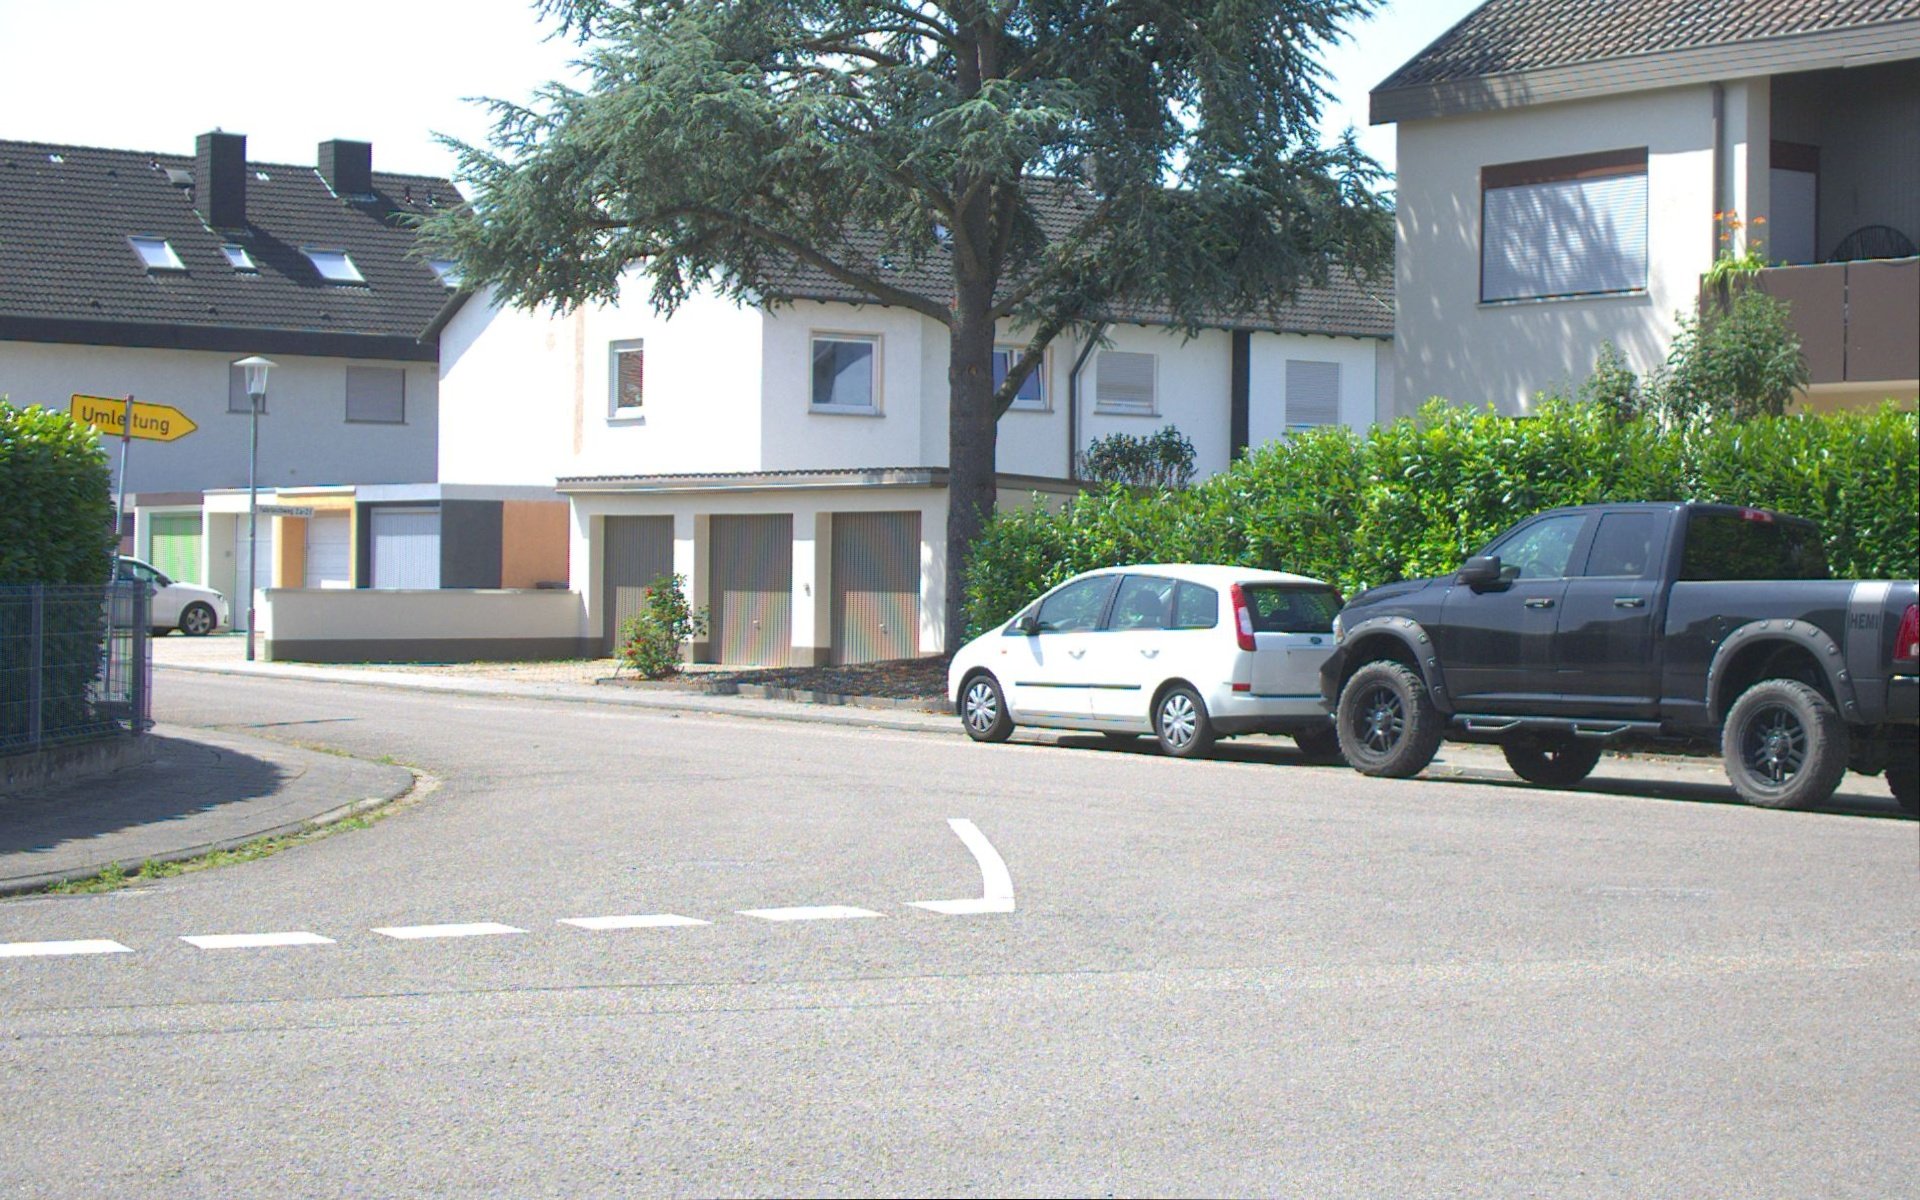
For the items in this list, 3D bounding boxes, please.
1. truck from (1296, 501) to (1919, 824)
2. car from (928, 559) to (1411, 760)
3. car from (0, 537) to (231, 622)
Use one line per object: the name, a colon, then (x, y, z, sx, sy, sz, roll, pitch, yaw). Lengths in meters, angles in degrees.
truck: (5.242, 0.357, 24.086, 2.364, 2.007, 5.711, 1, 0, -40)
car: (1.723, 0.462, 29.528, 1.798, 1.558, 4.142, 1, 1, -39)
car: (-14.614, -0.350, 59.217, 3.600, 1.403, 1.784, 1, 1, -36)
